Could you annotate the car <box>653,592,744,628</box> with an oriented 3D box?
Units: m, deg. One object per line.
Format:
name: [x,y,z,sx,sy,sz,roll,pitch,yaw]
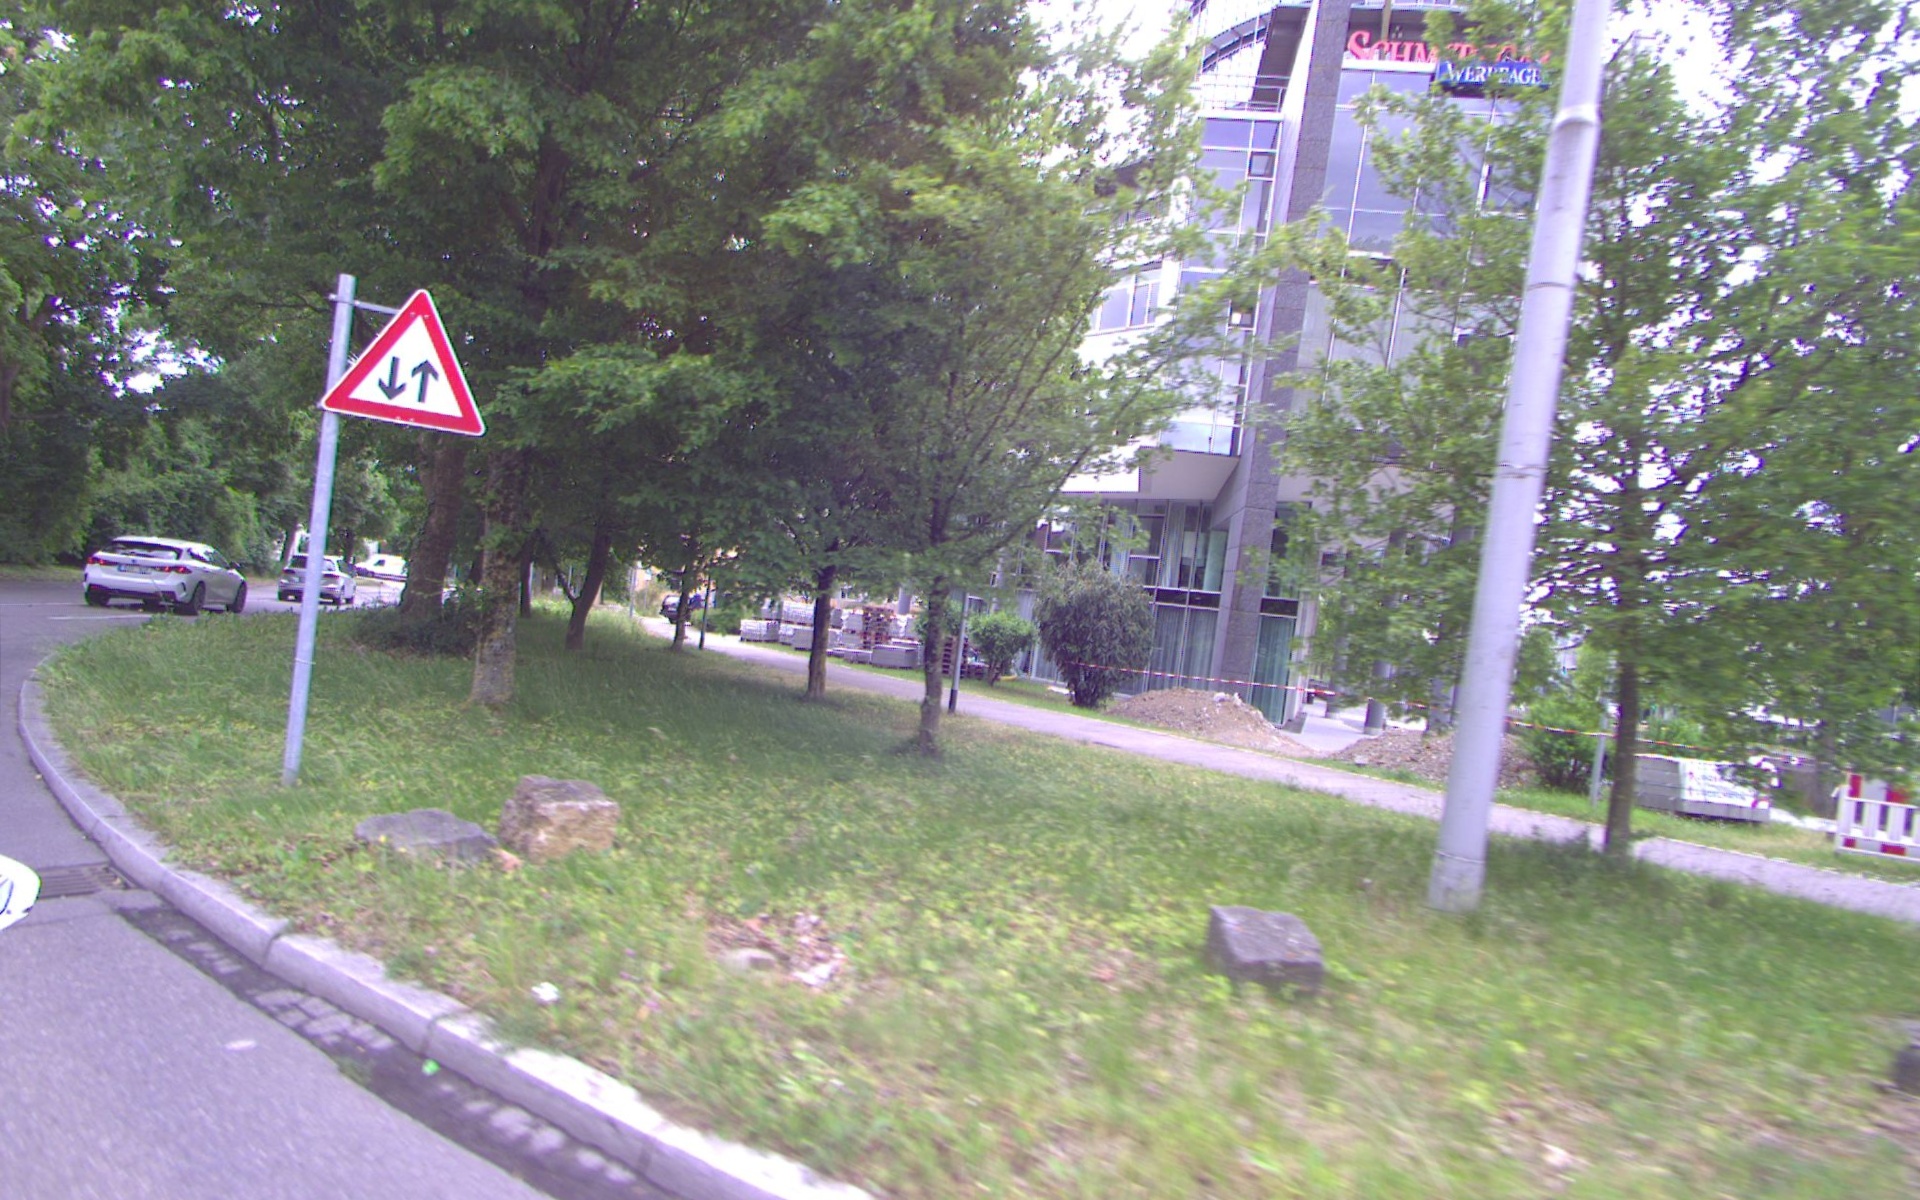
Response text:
car: [-13.582,0.551,52.562,1.839,1.535,4.738,4,-2,27]

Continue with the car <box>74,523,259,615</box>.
car: [-16.578,-0.579,21.282,1.777,1.535,4.189,7,-3,-21]

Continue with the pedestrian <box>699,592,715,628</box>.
pedestrian: [-12.841,0.506,51.073,0.529,1.749,0.495,8,4,41]

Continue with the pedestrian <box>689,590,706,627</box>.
pedestrian: [-13.179,0.417,50.449,0.576,1.778,0.472,8,4,41]

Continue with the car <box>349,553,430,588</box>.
car: [-59.331,-3.036,104.849,2.051,2.551,6.969,8,-2,34]

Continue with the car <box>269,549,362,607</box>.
car: [-21.396,-0.723,33.541,1.905,1.592,3.978,7,-2,-24]
